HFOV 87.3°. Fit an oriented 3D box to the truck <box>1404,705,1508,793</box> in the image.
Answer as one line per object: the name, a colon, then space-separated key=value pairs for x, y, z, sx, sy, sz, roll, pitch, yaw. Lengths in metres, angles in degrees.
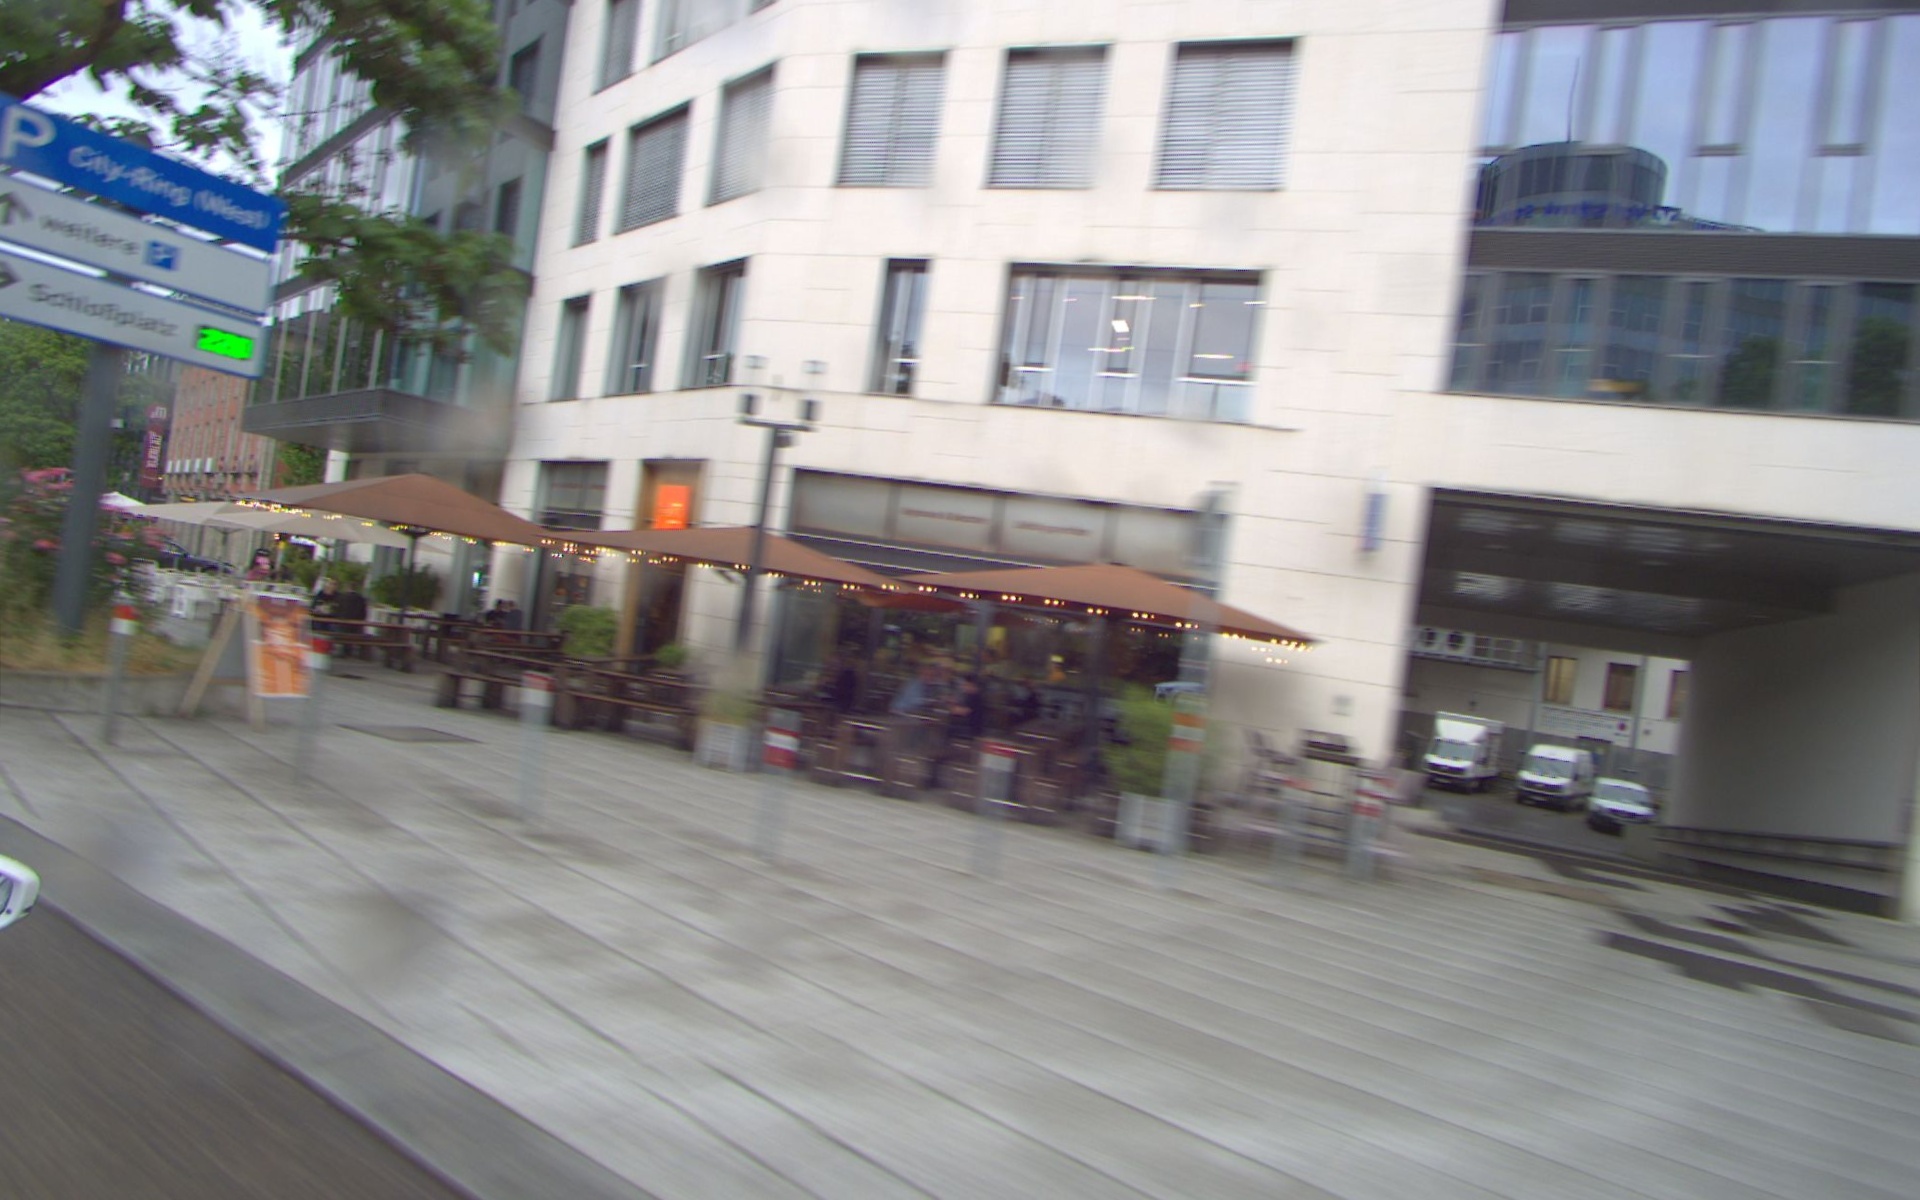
truck: x=22.730 y=6.852 z=45.861 sx=2.787 sy=3.261 sz=7.701 roll=7 pitch=-4 yaw=35

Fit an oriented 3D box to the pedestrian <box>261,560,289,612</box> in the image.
pedestrian: x=-19.488 y=-0.404 z=28.628 sx=0.472 sy=1.420 sz=0.434 roll=6 pitch=-1 yaw=42

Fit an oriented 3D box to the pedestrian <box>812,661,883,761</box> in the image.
pedestrian: x=-1.627 y=1.610 z=14.635 sx=0.624 sy=1.340 sz=0.630 roll=7 pitch=-3 yaw=19

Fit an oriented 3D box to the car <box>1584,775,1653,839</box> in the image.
car: x=23.392 y=7.260 z=35.674 sx=1.772 sy=1.800 sz=3.995 roll=7 pitch=-4 yaw=35

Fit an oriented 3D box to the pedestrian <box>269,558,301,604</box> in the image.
pedestrian: x=-29.280 y=-0.824 z=43.617 sx=0.794 sy=1.828 sz=0.610 roll=7 pitch=-2 yaw=28

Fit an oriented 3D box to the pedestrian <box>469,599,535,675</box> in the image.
pedestrian: x=-8.987 y=0.726 z=19.744 sx=0.626 sy=1.340 sz=0.818 roll=6 pitch=-4 yaw=39

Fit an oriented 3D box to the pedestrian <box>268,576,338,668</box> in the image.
pedestrian: x=-10.345 y=0.345 z=15.840 sx=0.559 sy=1.340 sz=0.606 roll=6 pitch=-4 yaw=39

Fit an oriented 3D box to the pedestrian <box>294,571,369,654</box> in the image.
pedestrian: x=-11.423 y=0.233 z=18.291 sx=0.626 sy=1.340 sz=0.818 roll=6 pitch=-4 yaw=39

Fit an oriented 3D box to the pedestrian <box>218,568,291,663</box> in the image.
pedestrian: x=-10.749 y=0.236 z=15.334 sx=0.559 sy=1.340 sz=0.606 roll=6 pitch=-4 yaw=39

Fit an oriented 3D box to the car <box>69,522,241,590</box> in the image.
car: x=-30.618 y=-1.655 z=38.376 sx=1.978 sy=1.709 sz=4.732 roll=7 pitch=-3 yaw=43

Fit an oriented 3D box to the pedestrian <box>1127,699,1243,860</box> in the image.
pedestrian: x=2.115 y=1.667 z=9.409 sx=0.626 sy=1.340 sz=0.774 roll=6 pitch=-4 yaw=39

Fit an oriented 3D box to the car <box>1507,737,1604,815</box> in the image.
car: x=26.465 y=7.770 z=44.531 sx=2.788 sy=2.673 sz=7.700 roll=7 pitch=-4 yaw=36

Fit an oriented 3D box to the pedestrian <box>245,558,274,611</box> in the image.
pedestrian: x=-19.505 y=-0.428 z=28.029 sx=0.472 sy=1.420 sz=0.434 roll=6 pitch=-1 yaw=42

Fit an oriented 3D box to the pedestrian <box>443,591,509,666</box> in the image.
pedestrian: x=-9.693 y=0.574 z=20.168 sx=0.626 sy=1.340 sz=0.818 roll=6 pitch=-4 yaw=39

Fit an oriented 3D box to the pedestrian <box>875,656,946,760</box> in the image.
pedestrian: x=-0.691 y=1.511 z=14.121 sx=0.624 sy=1.340 sz=0.630 roll=7 pitch=-3 yaw=19

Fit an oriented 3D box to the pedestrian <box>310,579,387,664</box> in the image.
pedestrian: x=-10.740 y=0.383 z=17.673 sx=0.626 sy=1.340 sz=0.818 roll=6 pitch=-4 yaw=39

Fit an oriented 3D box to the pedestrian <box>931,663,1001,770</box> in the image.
pedestrian: x=0.090 y=1.596 z=13.792 sx=0.624 sy=1.340 sz=0.630 roll=7 pitch=-3 yaw=19
